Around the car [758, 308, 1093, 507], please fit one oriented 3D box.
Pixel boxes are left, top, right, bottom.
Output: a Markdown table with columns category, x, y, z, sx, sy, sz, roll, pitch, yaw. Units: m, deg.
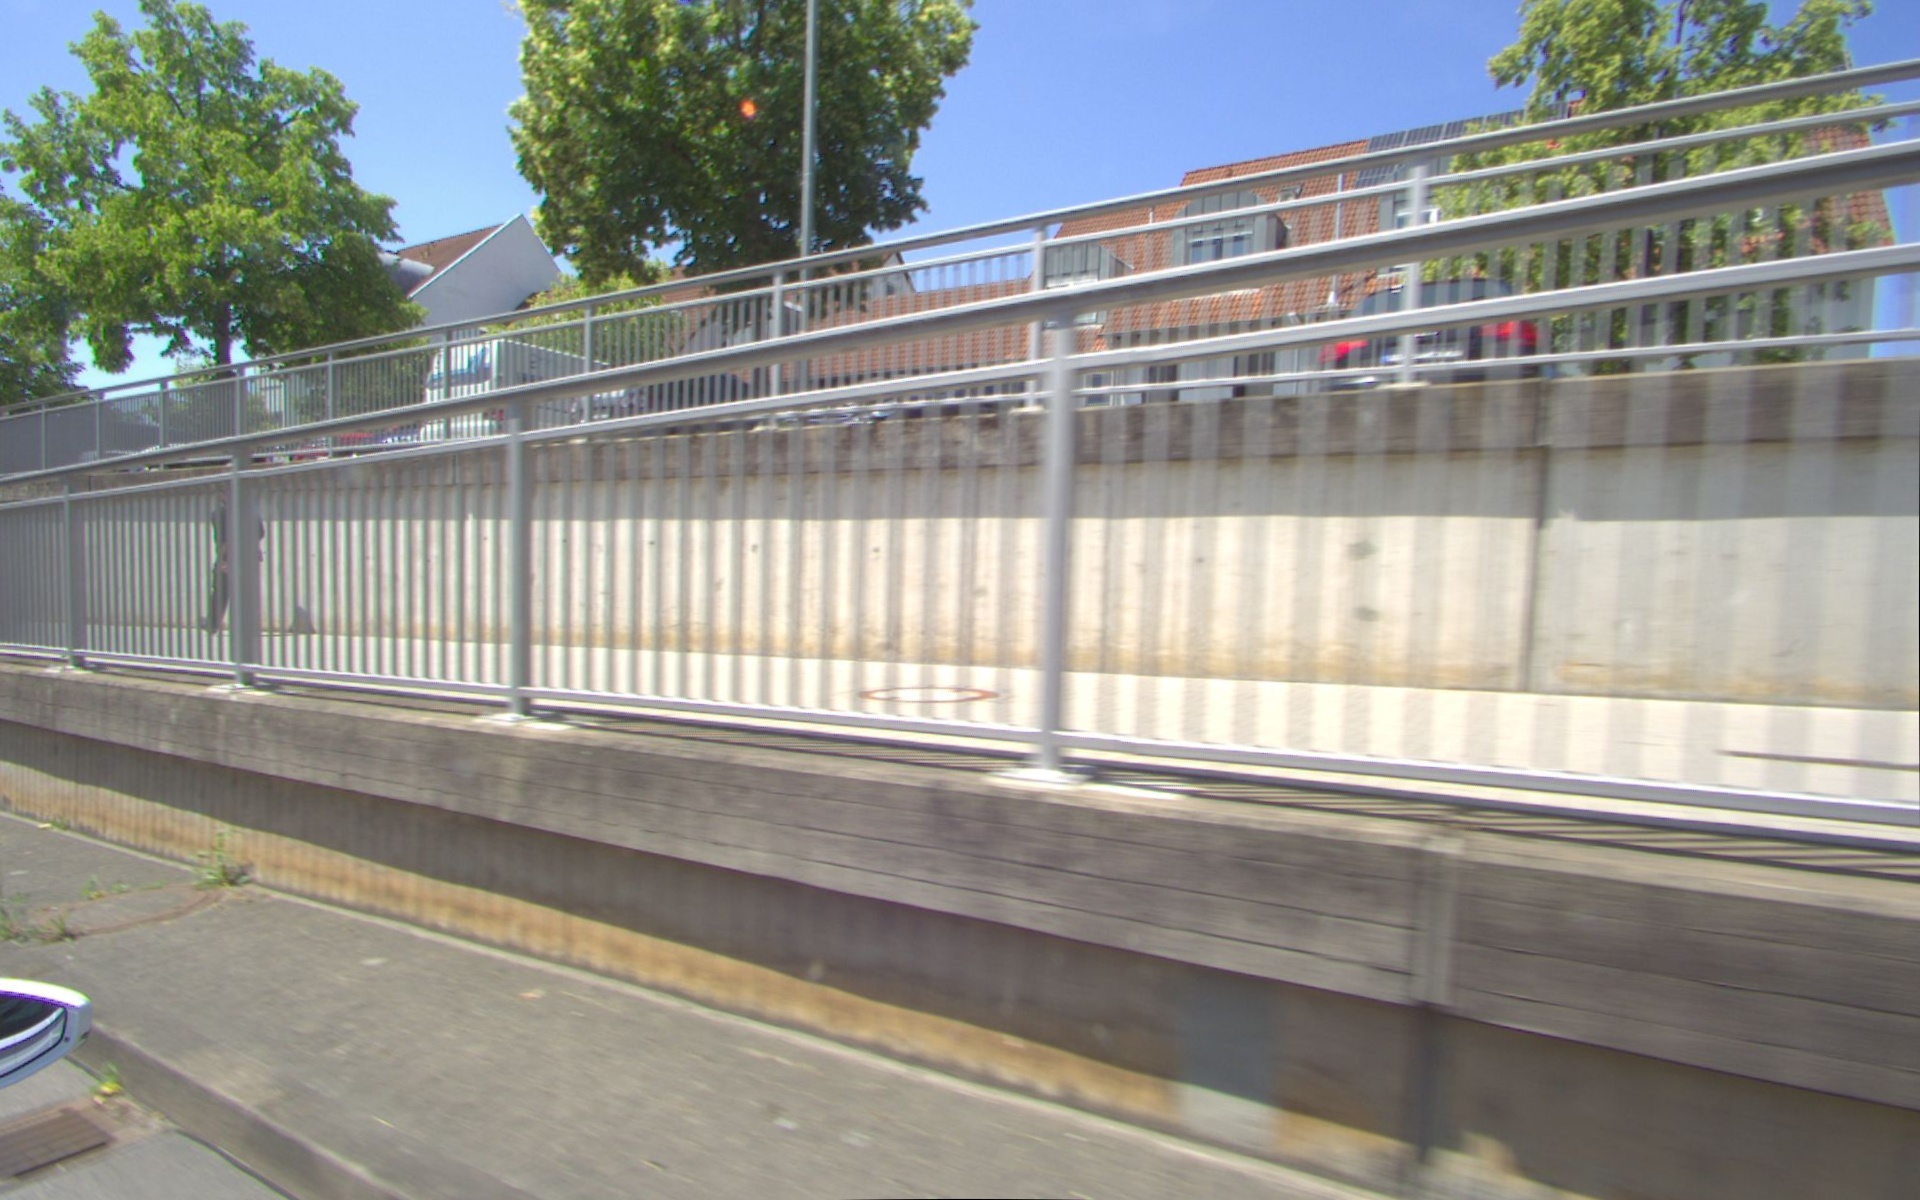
| category | x | y | z | sx | sy | sz | roll | pitch | yaw |
| --- | --- | --- | --- | --- | --- | --- | --- | --- | --- |
| car | -0.186 | -2.006 | 11.619 | 1.723 | 1.519 | 4.275 | 3 | 2 | 33 |

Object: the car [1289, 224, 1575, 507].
| category | x | y | z | sx | sy | sz | roll | pitch | yaw |
| --- | --- | --- | --- | --- | --- | --- | --- | --- | --- |
| car | 4.323 | -1.737 | 8.786 | 1.662 | 1.519 | 4.194 | 3 | 2 | 33 |

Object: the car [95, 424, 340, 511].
| category | x | y | z | sx | sy | sz | roll | pitch | yaw |
| --- | --- | --- | --- | --- | --- | --- | --- | --- | --- |
| car | -15.741 | -2.742 | 21.412 | 1.662 | 1.386 | 3.896 | 3 | 2 | 33 |

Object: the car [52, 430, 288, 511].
| category | x | y | z | sx | sy | sz | roll | pitch | yaw |
| --- | --- | --- | --- | --- | --- | --- | --- | --- | --- |
| car | -17.770 | -2.845 | 22.703 | 1.662 | 1.386 | 3.896 | 3 | 2 | 33 |

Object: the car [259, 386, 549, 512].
| category | x | y | z | sx | sy | sz | roll | pitch | yaw |
| --- | --- | --- | --- | --- | --- | --- | --- | --- | --- |
| car | -9.622 | -2.522 | 17.646 | 1.662 | 1.618 | 4.194 | 3 | 2 | 33 |

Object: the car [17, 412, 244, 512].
| category | x | y | z | sx | sy | sz | roll | pitch | yaw |
| --- | --- | --- | --- | --- | --- | --- | --- | --- | --- |
| car | -19.771 | -3.204 | 24.025 | 1.662 | 1.911 | 3.896 | 3 | 2 | 33 |

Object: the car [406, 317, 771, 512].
| category | x | y | z | sx | sy | sz | roll | pitch | yaw |
| --- | --- | --- | --- | --- | --- | --- | --- | --- | --- |
| car | -5.416 | -2.581 | 15.374 | 1.960 | 2.092 | 5.100 | 3 | 2 | 33 |

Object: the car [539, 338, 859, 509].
| category | x | y | z | sx | sy | sz | roll | pitch | yaw |
| --- | --- | --- | --- | --- | --- | --- | --- | --- | --- |
| car | -3.363 | -2.218 | 13.664 | 1.662 | 1.618 | 4.194 | 3 | 2 | 33 |

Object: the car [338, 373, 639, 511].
| category | x | y | z | sx | sy | sz | roll | pitch | yaw |
| --- | --- | --- | --- | --- | --- | --- | --- | --- | --- |
| car | -7.464 | -2.407 | 16.258 | 1.662 | 1.618 | 4.194 | 3 | 2 | 33 |

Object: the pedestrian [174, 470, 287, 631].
| category | x | y | z | sx | sy | sz | roll | pitch | yaw |
| --- | --- | --- | --- | --- | --- | --- | --- | --- | --- |
| pedestrian | -8.557 | -0.553 | 11.760 | 0.777 | 1.806 | 0.834 | 1 | 1 | 32 |
